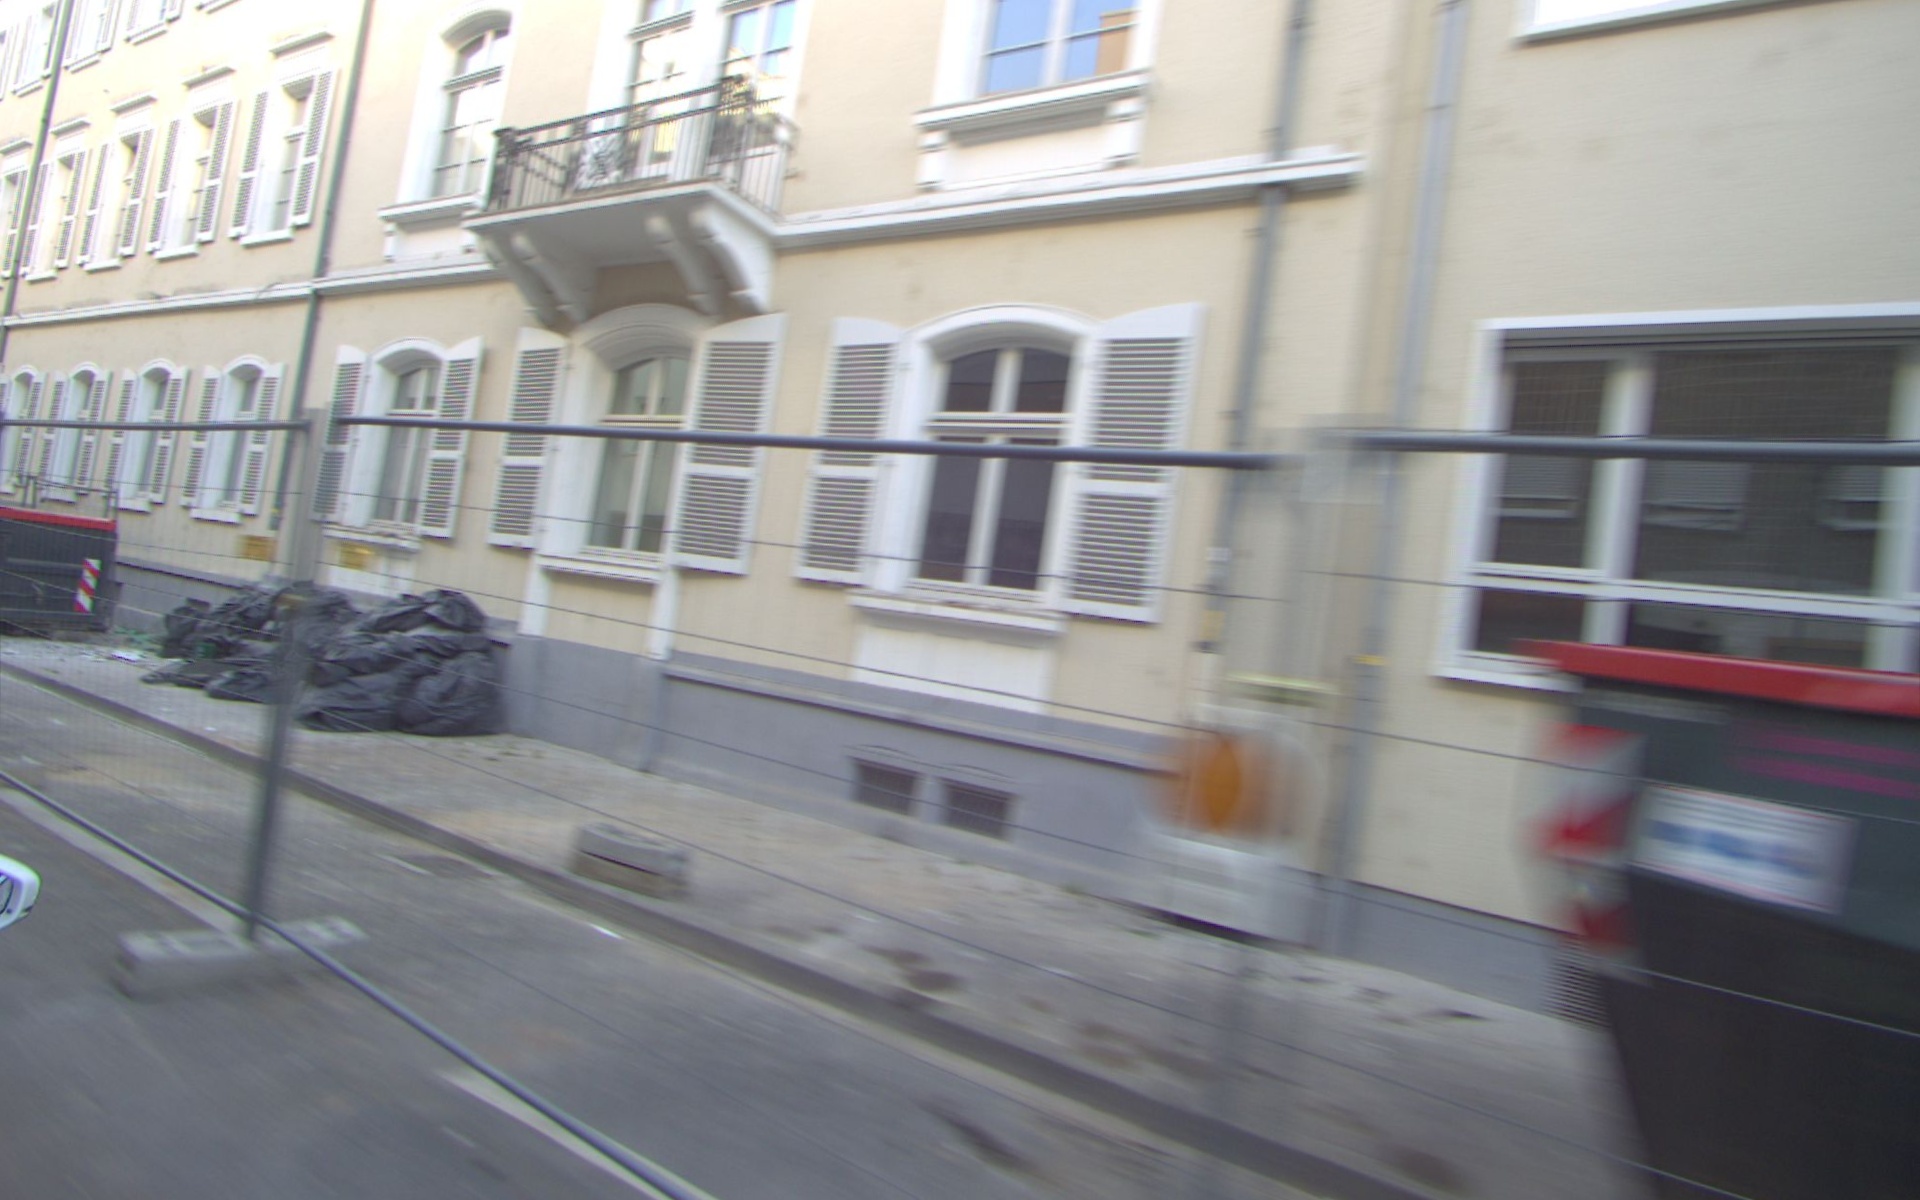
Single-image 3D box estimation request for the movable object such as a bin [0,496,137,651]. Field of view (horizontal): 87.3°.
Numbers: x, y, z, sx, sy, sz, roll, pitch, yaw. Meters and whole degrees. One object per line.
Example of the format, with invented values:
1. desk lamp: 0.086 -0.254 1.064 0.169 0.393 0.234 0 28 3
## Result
1. movable object such as a bin: -14.305 -0.753 13.281 7.424 1.655 2.746 7 -5 30
